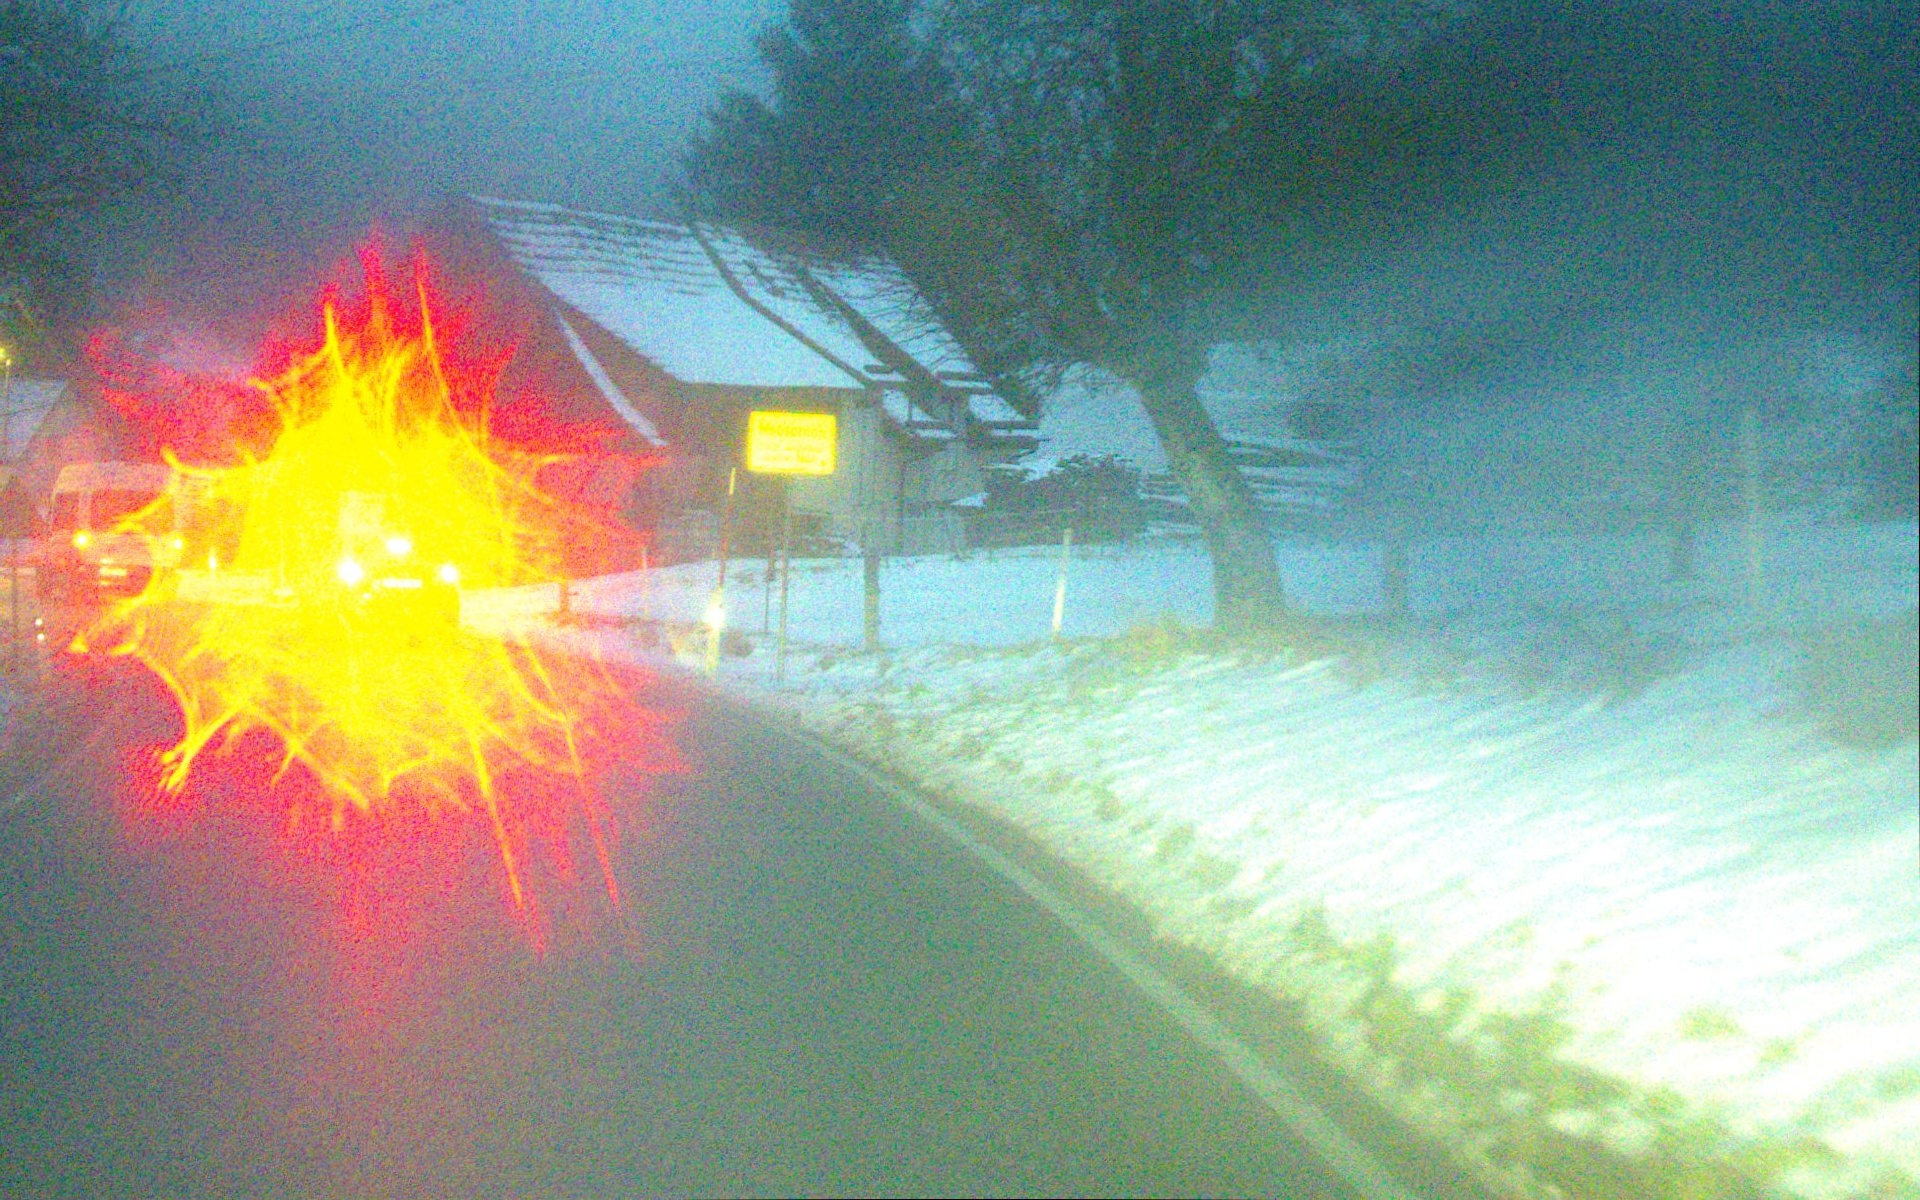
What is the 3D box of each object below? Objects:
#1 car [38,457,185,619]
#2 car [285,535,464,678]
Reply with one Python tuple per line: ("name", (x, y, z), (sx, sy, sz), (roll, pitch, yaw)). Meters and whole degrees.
("car", (-16.430, -1.155, 66.778), (2.434, 3.008, 5.326), (0, 0, -10))
("car", (-8.102, 0.061, 47.294), (2.273, 1.834, 5.008), (-1, 1, -11))
